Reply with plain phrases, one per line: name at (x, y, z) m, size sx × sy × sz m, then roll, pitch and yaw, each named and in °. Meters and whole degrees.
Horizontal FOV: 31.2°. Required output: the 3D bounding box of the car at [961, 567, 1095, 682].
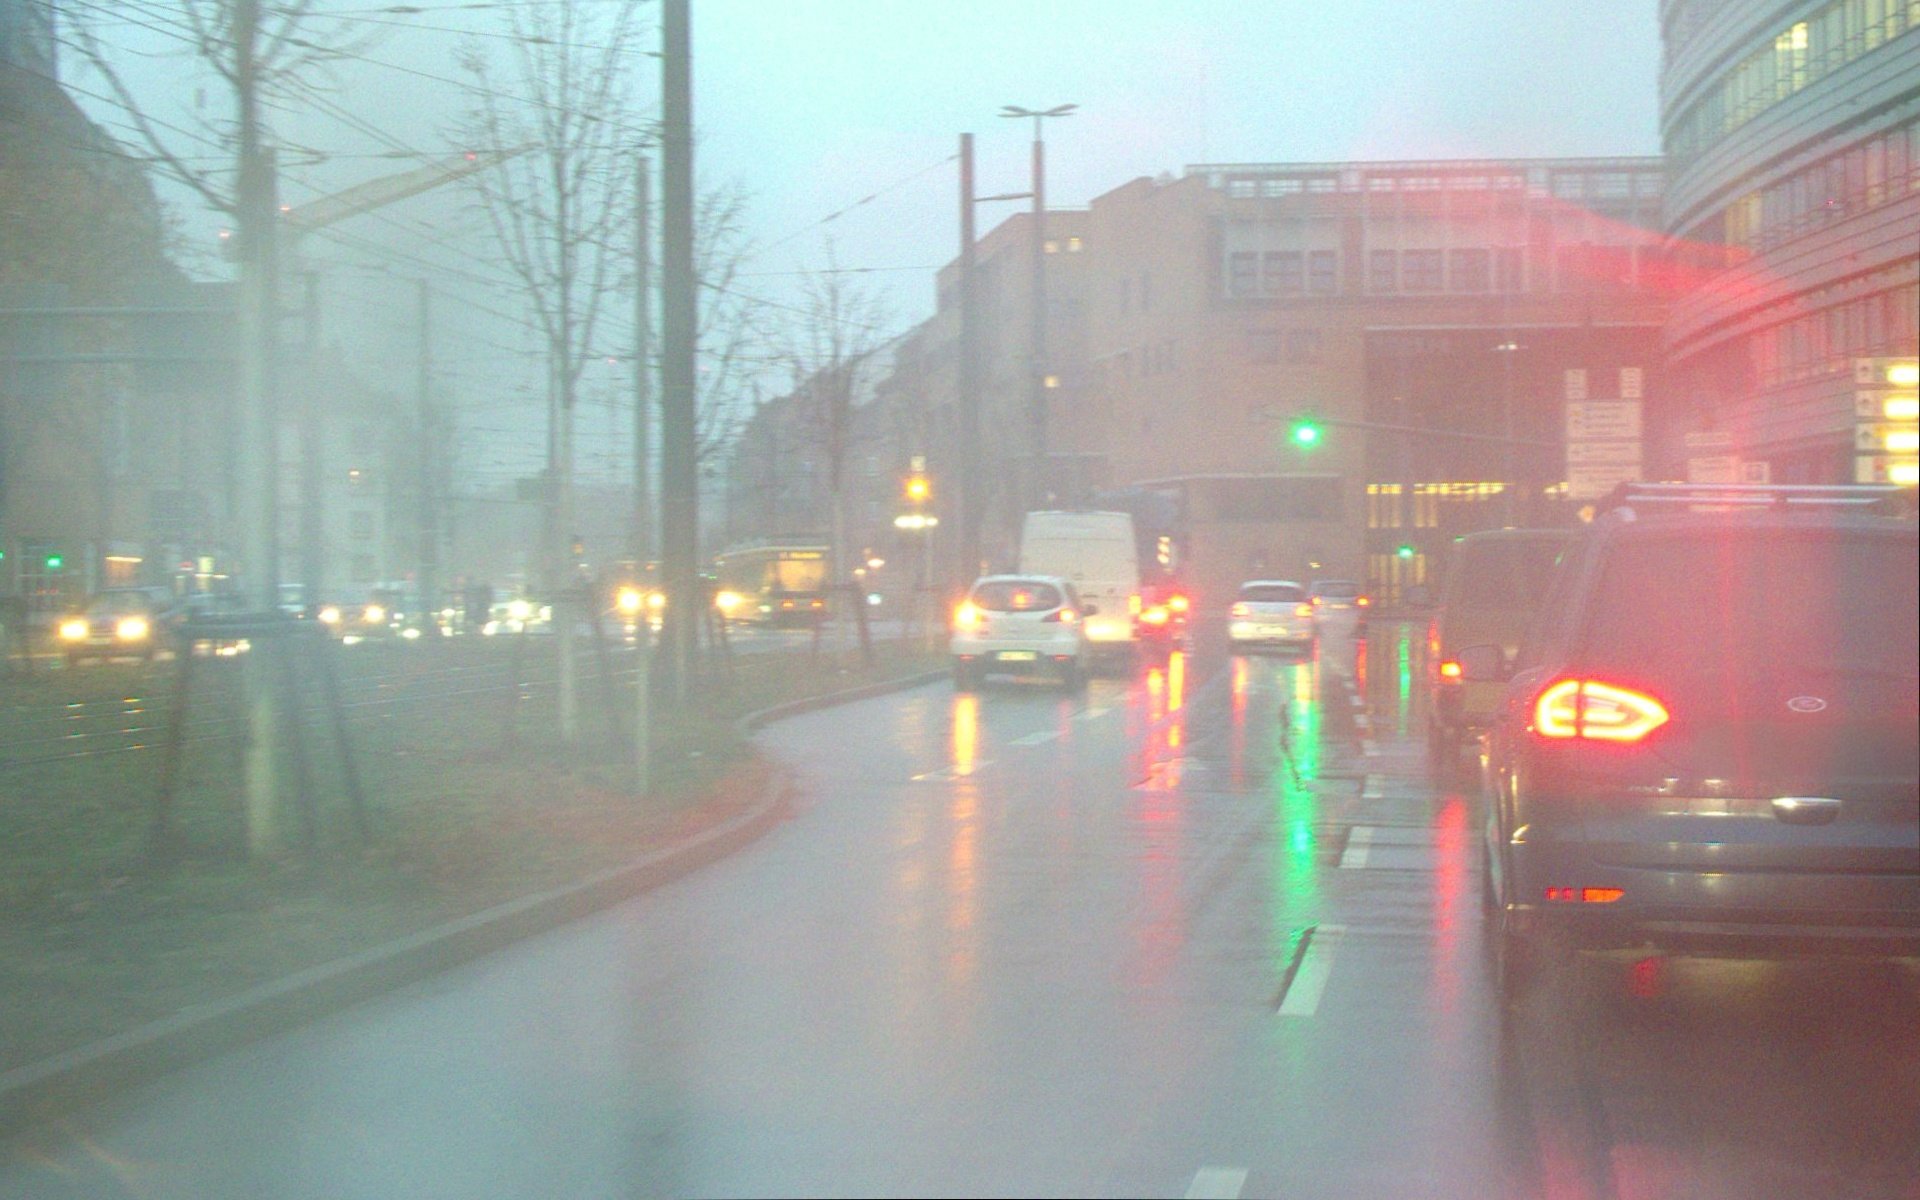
car at (0.956, 0.302, 46.856) m, size 1.639 × 1.491 × 3.685 m, roll 0°, pitch 1°, yaw 4°

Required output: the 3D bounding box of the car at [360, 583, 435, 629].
car at (-18.079, 0.179, 110.580) m, size 1.993 × 1.445 × 4.315 m, roll 0°, pitch 0°, yaw -4°

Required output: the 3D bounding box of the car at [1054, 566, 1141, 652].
car at (2.475, 0.169, 62.343) m, size 1.518 × 1.515 × 3.470 m, roll 0°, pitch -1°, yaw 2°

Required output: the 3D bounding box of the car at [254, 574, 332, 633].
car at (-15.820, 0.099, 81.660) m, size 1.506 × 1.368 × 3.653 m, roll 0°, pitch -1°, yaw -6°

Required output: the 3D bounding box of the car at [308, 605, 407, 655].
car at (-17.202, 0.845, 98.278) m, size 1.729 × 1.388 × 4.198 m, roll 0°, pitch 0°, yaw 5°

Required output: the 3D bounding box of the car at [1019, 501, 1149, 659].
car at (1.952, -0.316, 55.620) m, size 1.993 × 2.419 × 5.974 m, roll 0°, pitch 0°, yaw 1°

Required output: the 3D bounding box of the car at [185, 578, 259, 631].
car at (-19.763, 0.114, 92.141) m, size 1.506 × 1.397 × 3.550 m, roll 0°, pitch 0°, yaw -5°

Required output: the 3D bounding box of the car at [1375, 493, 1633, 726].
car at (4.473, 0.061, 28.844) m, size 1.844 × 1.800 × 4.486 m, roll 0°, pitch 0°, yaw 5°

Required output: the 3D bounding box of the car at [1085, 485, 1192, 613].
car at (4.086, -1.132, 79.052) m, size 2.355 × 2.817 × 6.358 m, roll 0°, pitch 0°, yaw 3°

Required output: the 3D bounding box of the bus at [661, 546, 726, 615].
bus at (-13.379, -0.956, 172.352) m, size 2.822 × 3.361 × 8.002 m, roll 0°, pitch 0°, yaw -8°

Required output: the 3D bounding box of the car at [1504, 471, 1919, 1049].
car at (2.891, 0.480, 12.564) m, size 1.674 × 1.773 × 3.999 m, roll 0°, pitch 0°, yaw 7°

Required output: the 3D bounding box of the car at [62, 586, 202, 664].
car at (-15.702, 0.453, 65.340) m, size 1.814 × 1.437 × 3.956 m, roll 0°, pitch 0°, yaw -2°

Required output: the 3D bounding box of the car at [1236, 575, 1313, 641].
car at (6.446, 0.149, 70.244) m, size 1.512 × 1.301 × 3.040 m, roll 0°, pitch 0°, yaw 6°

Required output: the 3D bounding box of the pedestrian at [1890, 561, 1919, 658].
pedestrian at (16.506, 0.155, 59.793) m, size 0.531 × 1.677 × 0.744 m, roll 0°, pitch 0°, yaw 5°
